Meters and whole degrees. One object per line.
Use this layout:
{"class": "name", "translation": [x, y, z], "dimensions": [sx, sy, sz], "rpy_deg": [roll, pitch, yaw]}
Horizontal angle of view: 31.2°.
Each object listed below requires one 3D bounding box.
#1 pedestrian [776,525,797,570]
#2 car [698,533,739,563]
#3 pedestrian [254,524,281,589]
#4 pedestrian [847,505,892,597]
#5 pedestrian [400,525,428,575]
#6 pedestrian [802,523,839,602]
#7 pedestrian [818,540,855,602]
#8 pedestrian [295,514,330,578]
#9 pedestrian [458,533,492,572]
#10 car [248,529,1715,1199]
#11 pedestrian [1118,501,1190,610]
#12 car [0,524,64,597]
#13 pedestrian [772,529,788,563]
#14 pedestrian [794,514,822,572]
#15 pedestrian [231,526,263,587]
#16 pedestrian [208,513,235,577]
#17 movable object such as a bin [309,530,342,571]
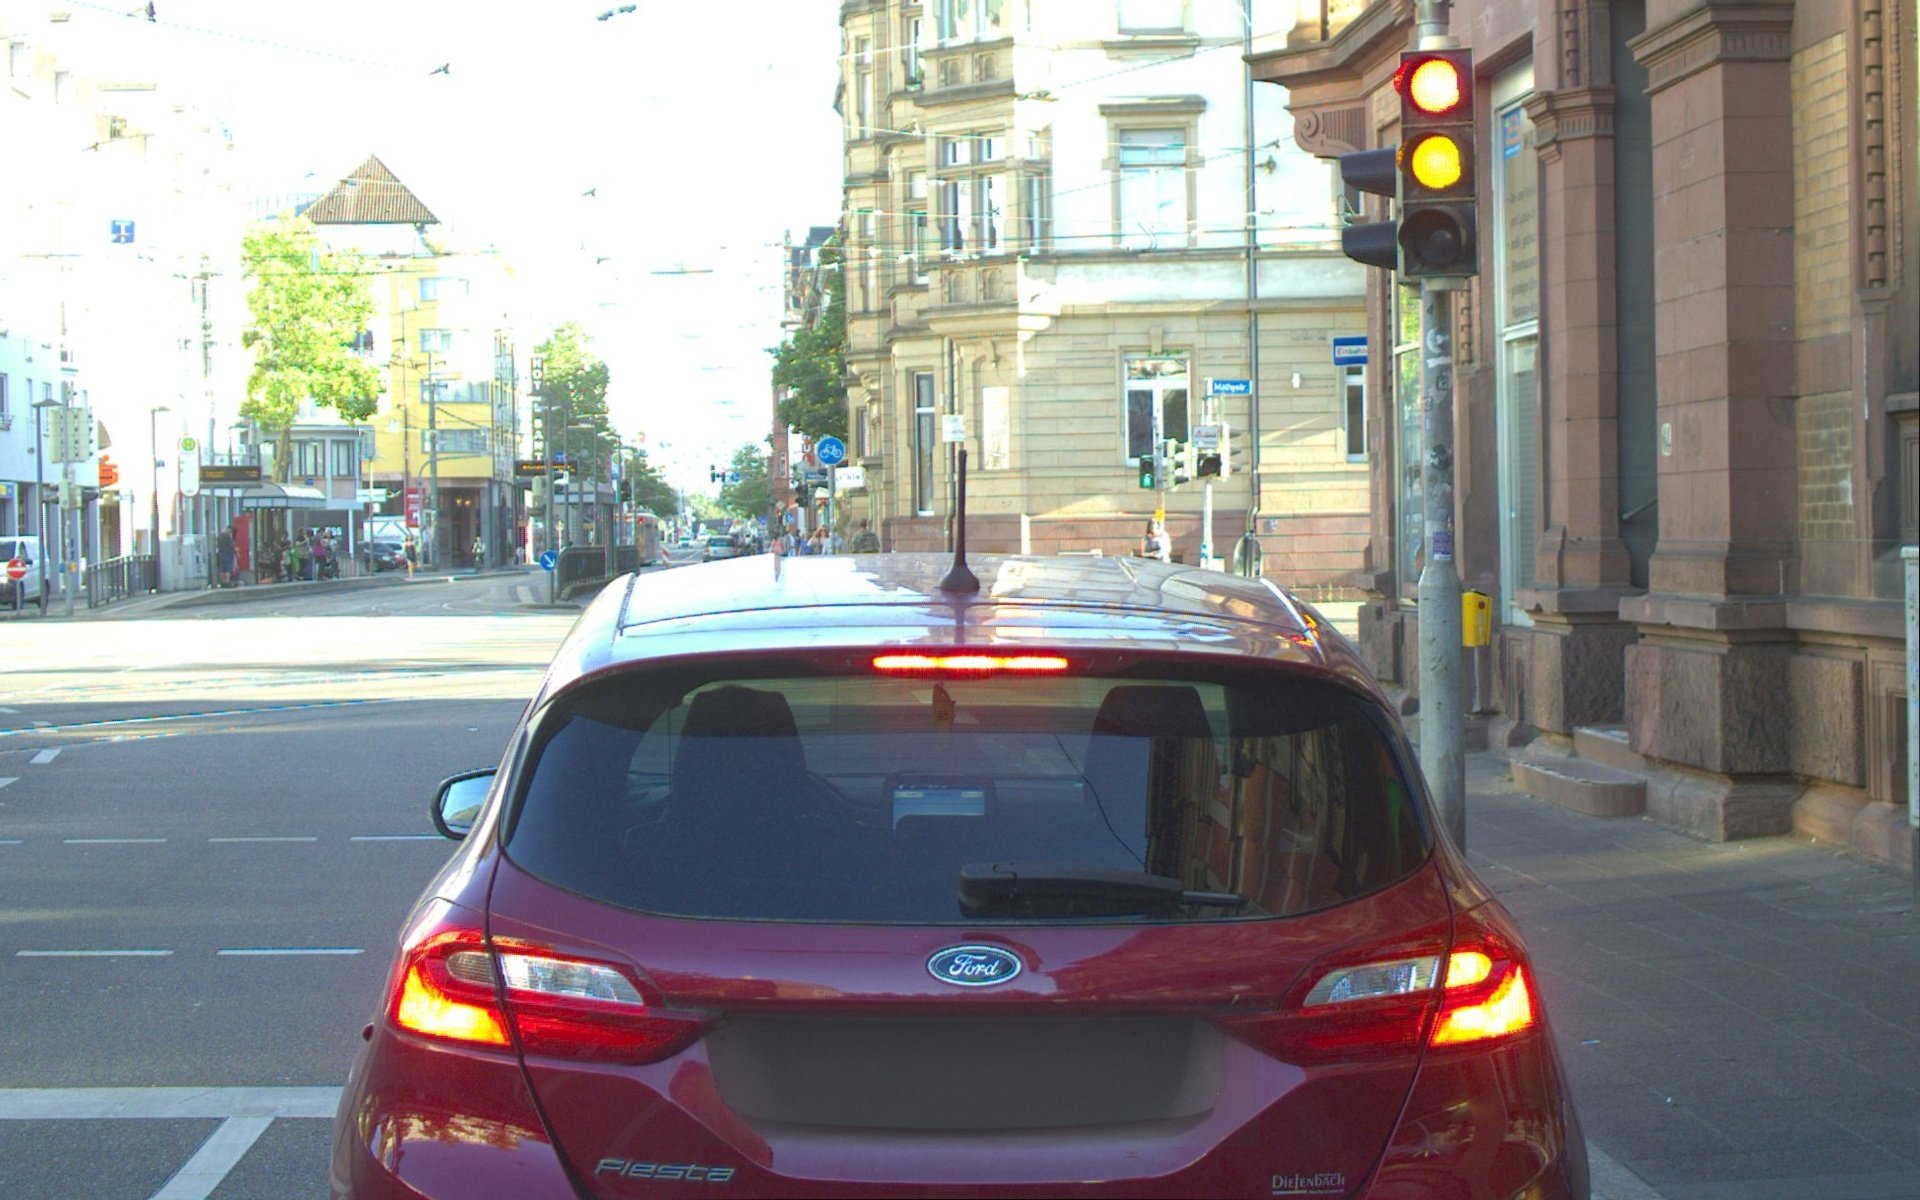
{"class": "pedestrian", "translation": [-7.130, -2.159, 141.339], "dimensions": [0.713, 1.768, 0.773], "rpy_deg": [-4, 2, -6]}
{"class": "car", "translation": [-12.029, -2.606, 171.525], "dimensions": [1.993, 1.444, 4.001], "rpy_deg": [0, 1, -4]}
{"class": "pedestrian", "translation": [-20.262, -1.279, 100.641], "dimensions": [0.695, 1.898, 0.672], "rpy_deg": [-1, 1, -6]}
{"class": "pedestrian", "translation": [-1.849, -1.007, 70.249], "dimensions": [0.800, 1.817, 0.798], "rpy_deg": [-3, 2, -4]}
{"class": "pedestrian", "translation": [-20.851, -1.922, 131.251], "dimensions": [0.878, 1.898, 0.935], "rpy_deg": [-1, 1, -19]}
{"class": "pedestrian", "translation": [-3.112, -0.826, 76.583], "dimensions": [0.717, 1.715, 0.797], "rpy_deg": [-2, 0, -5]}
{"class": "pedestrian", "translation": [-2.726, -0.640, 75.685], "dimensions": [0.717, 1.327, 0.797], "rpy_deg": [-2, 0, -5]}
{"class": "pedestrian", "translation": [-19.361, -1.617, 102.805], "dimensions": [0.931, 1.898, 0.881], "rpy_deg": [-1, 1, -6]}
{"class": "pedestrian", "translation": [-24.081, -2.364, 170.686], "dimensions": [1.343, 1.898, 1.474], "rpy_deg": [-1, 1, -19]}
{"class": "car", "translation": [-0.006, 0.641, 5.788], "dimensions": [1.692, 1.490, 3.580], "rpy_deg": [1, 1, -1]}
{"class": "pedestrian", "translation": [3.274, -0.759, 58.153], "dimensions": [1.023, 1.800, 1.083], "rpy_deg": [-1, 1, -7]}
{"class": "car", "translation": [-24.547, -1.025, 88.317], "dimensions": [1.993, 1.831, 5.347], "rpy_deg": [-1, 1, -4]}
{"class": "pedestrian", "translation": [-8.951, -2.681, 171.334], "dimensions": [0.751, 1.655, 0.650], "rpy_deg": [1, 0, -1]}
{"class": "pedestrian", "translation": [-4.777, -1.793, 107.898], "dimensions": [0.713, 1.768, 0.773], "rpy_deg": [-4, 2, -6]}
{"class": "pedestrian", "translation": [-20.030, -1.215, 96.542], "dimensions": [0.695, 1.685, 0.672], "rpy_deg": [-1, 1, -27]}
{"class": "pedestrian", "translation": [-19.425, -1.447, 90.446], "dimensions": [0.598, 1.686, 0.613], "rpy_deg": [-1, 1, -3]}
{"class": "movable object such as a bin", "translation": [-20.150, -1.580, 109.236], "dimensions": [0.937, 1.282, 0.935], "rpy_deg": [-1, 1, -6]}
